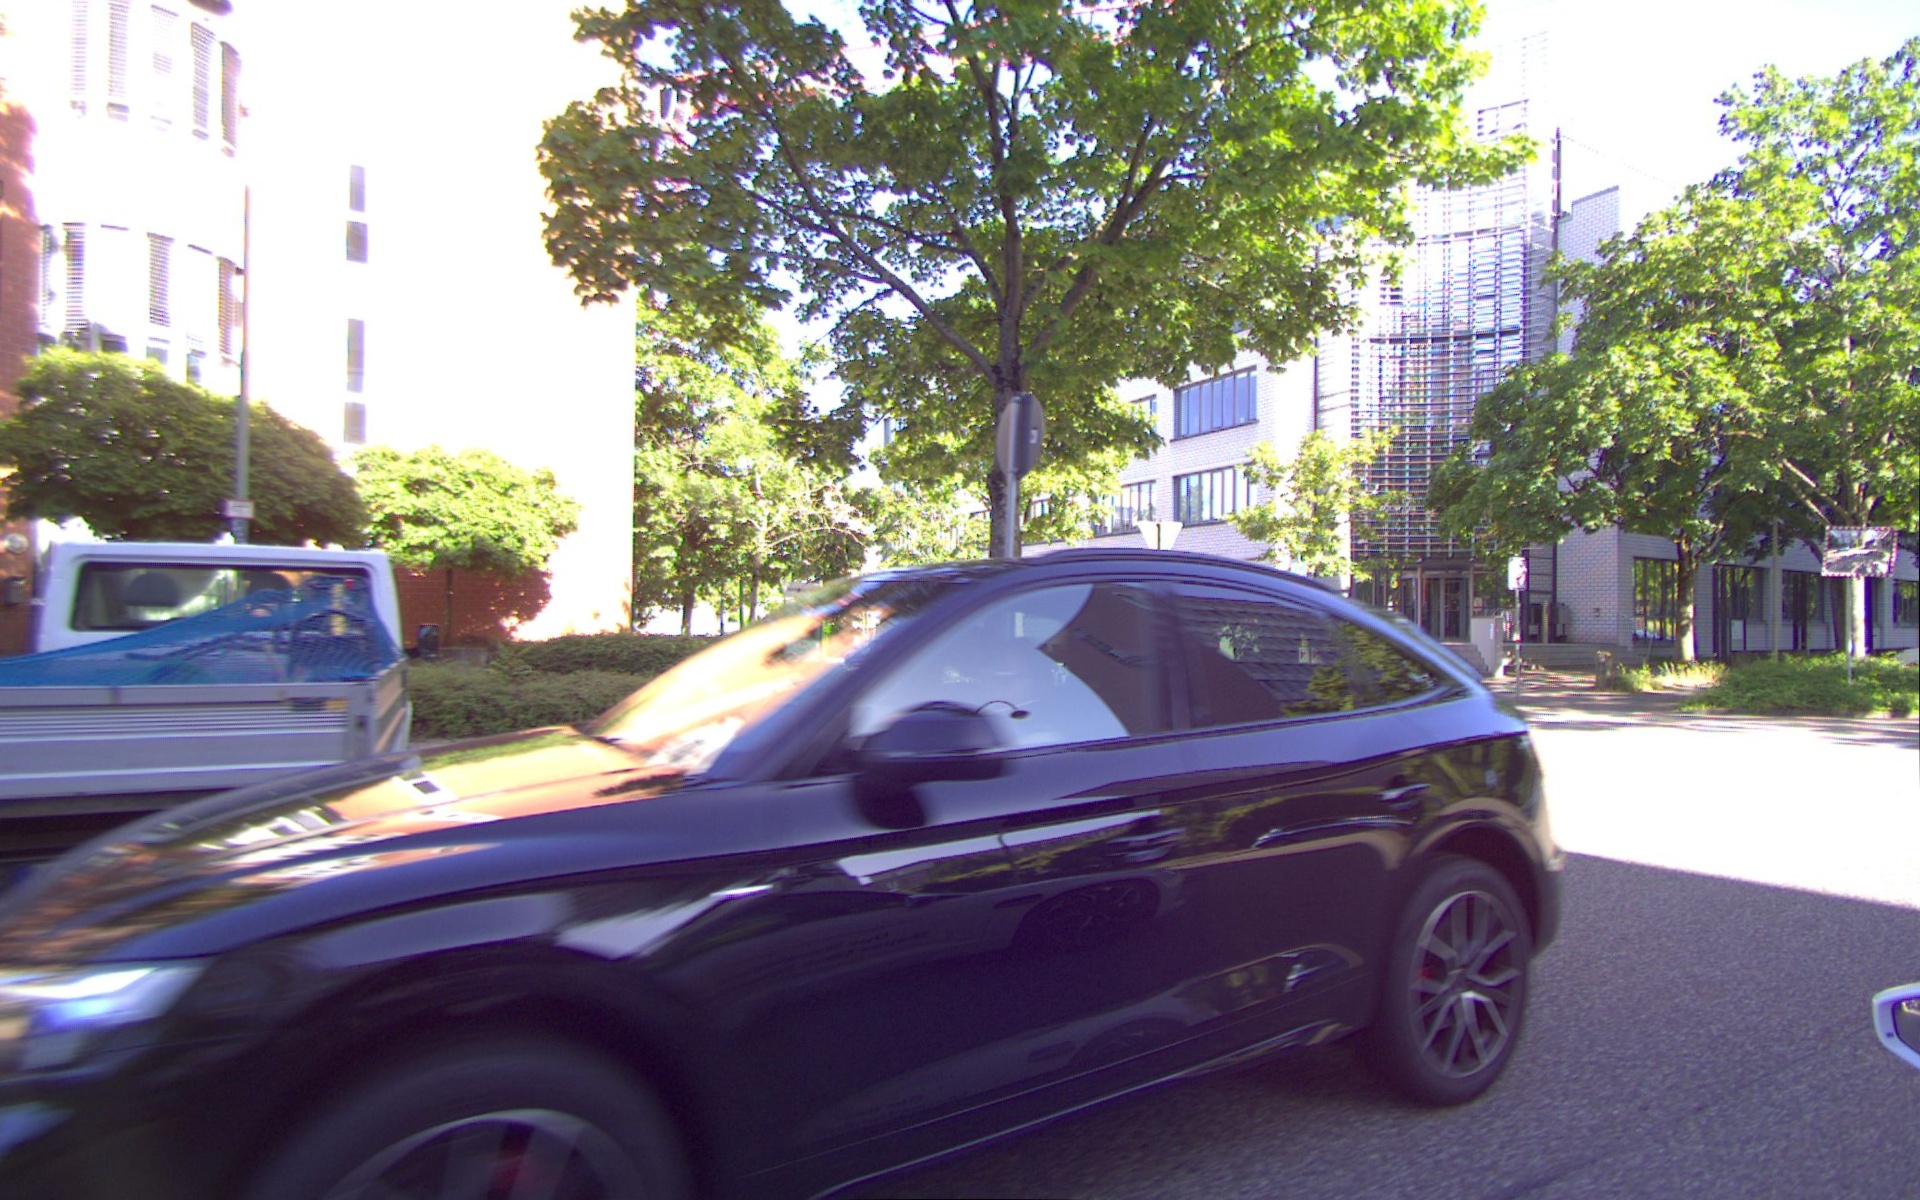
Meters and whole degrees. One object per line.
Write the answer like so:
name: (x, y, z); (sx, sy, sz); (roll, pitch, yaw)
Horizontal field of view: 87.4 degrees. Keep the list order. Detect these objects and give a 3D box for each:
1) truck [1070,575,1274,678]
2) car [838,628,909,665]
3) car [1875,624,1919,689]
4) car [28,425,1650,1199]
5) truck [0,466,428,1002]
truck: (6.161, 0.805, 30.061); (2.549, 2.740, 6.072); (1, -2, -31)
car: (-4.277, 2.243, 49.081); (1.985, 1.700, 3.970); (1, -2, -29)
car: (24.452, 1.412, 23.976); (1.620, 1.569, 3.561); (4, -3, -32)
car: (0.152, 0.694, 3.225); (4.305, 1.706, 1.881); (1, -2, -33)
truck: (-4.446, 0.573, 6.071); (2.111, 1.985, 4.966); (1, -2, -28)
